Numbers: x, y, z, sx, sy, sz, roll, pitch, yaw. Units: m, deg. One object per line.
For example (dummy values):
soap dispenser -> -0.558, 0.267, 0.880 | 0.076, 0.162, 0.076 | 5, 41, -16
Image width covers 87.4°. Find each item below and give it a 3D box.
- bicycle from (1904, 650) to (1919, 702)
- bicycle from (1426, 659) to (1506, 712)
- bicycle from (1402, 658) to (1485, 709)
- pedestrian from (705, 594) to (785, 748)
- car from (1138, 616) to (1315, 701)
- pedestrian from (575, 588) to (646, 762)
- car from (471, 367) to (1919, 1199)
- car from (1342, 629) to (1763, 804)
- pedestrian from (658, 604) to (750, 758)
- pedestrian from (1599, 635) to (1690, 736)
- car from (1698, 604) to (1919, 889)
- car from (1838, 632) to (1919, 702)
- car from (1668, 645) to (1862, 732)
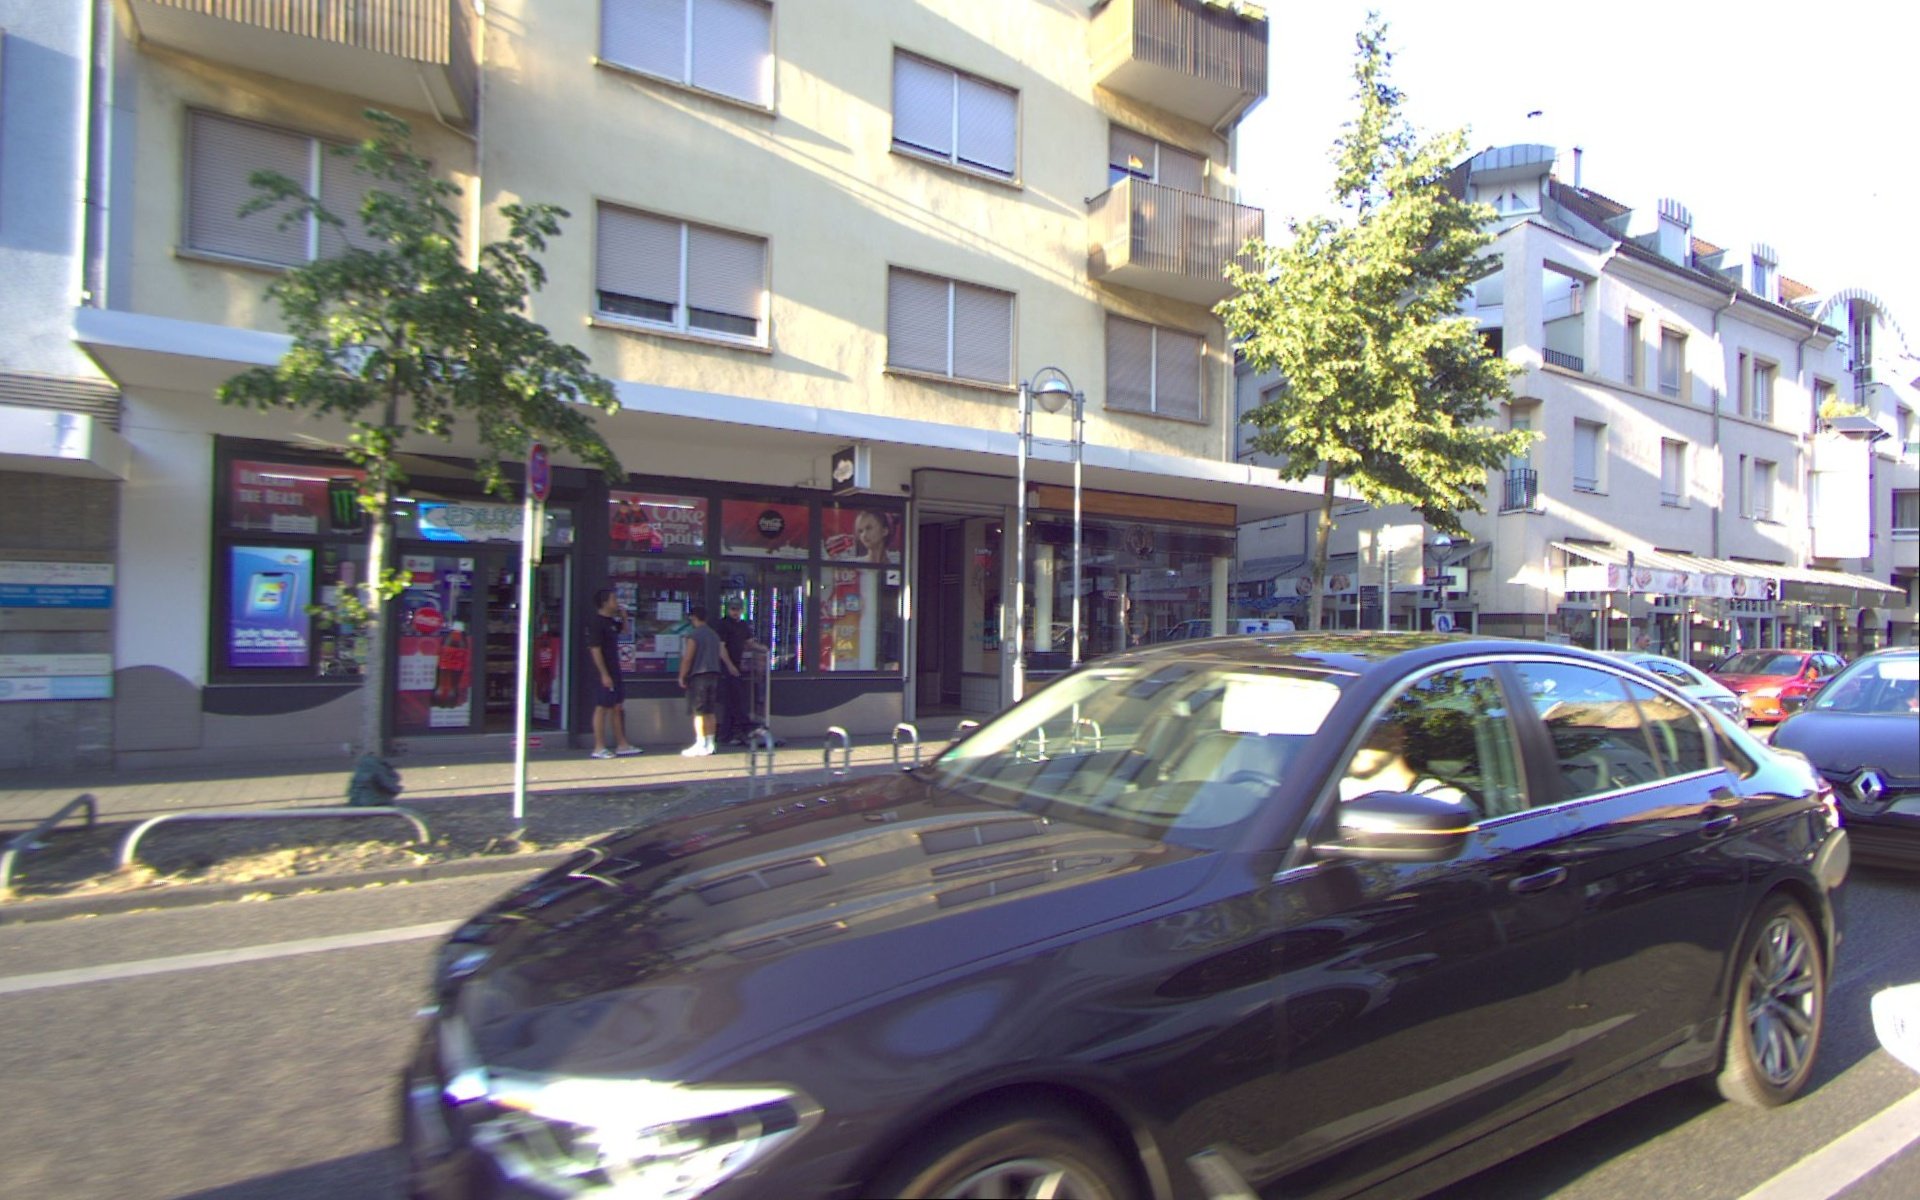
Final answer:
bicycle -> 27.339, 2.140, 28.182 | 2.332, 1.393, 0.607 | 3, -1, -31
bicycle -> 10.344, 1.733, 20.497 | 1.994, 1.005, 0.487 | 3, -1, -33
bicycle -> 10.124, 1.735, 21.004 | 1.992, 1.005, 0.487 | 3, -1, -29
pedestrian -> -2.681, 0.863, 12.507 | 0.803, 1.843, 0.738 | 1, -2, -28
car -> 6.520, 1.375, 25.237 | 1.968, 1.852, 4.862 | 2, -1, -17
pedestrian -> -3.932, 0.811, 11.310 | 0.732, 1.872, 0.766 | 0, -1, -20
car -> 1.092, 0.687, 3.137 | 4.561, 1.666, 1.937 | 3, -3, -30
car -> 6.430, 1.174, 10.823 | 4.457, 1.531, 1.985 | 3, -5, -31
pedestrian -> -2.945, 0.909, 11.626 | 0.728, 1.698, 0.770 | 1, -1, 12
pedestrian -> 12.113, 1.502, 17.813 | 0.973, 1.698, 0.907 | -2, -1, 8
car -> 7.116, 0.906, 6.872 | 4.413, 1.569, 1.716 | 3, -3, -30
car -> 21.936, 1.531, 22.972 | 3.682, 1.473, 1.703 | 3, -1, -30
car -> 15.285, 1.632, 19.035 | 3.840, 1.421, 1.652 | 3, -1, -31
